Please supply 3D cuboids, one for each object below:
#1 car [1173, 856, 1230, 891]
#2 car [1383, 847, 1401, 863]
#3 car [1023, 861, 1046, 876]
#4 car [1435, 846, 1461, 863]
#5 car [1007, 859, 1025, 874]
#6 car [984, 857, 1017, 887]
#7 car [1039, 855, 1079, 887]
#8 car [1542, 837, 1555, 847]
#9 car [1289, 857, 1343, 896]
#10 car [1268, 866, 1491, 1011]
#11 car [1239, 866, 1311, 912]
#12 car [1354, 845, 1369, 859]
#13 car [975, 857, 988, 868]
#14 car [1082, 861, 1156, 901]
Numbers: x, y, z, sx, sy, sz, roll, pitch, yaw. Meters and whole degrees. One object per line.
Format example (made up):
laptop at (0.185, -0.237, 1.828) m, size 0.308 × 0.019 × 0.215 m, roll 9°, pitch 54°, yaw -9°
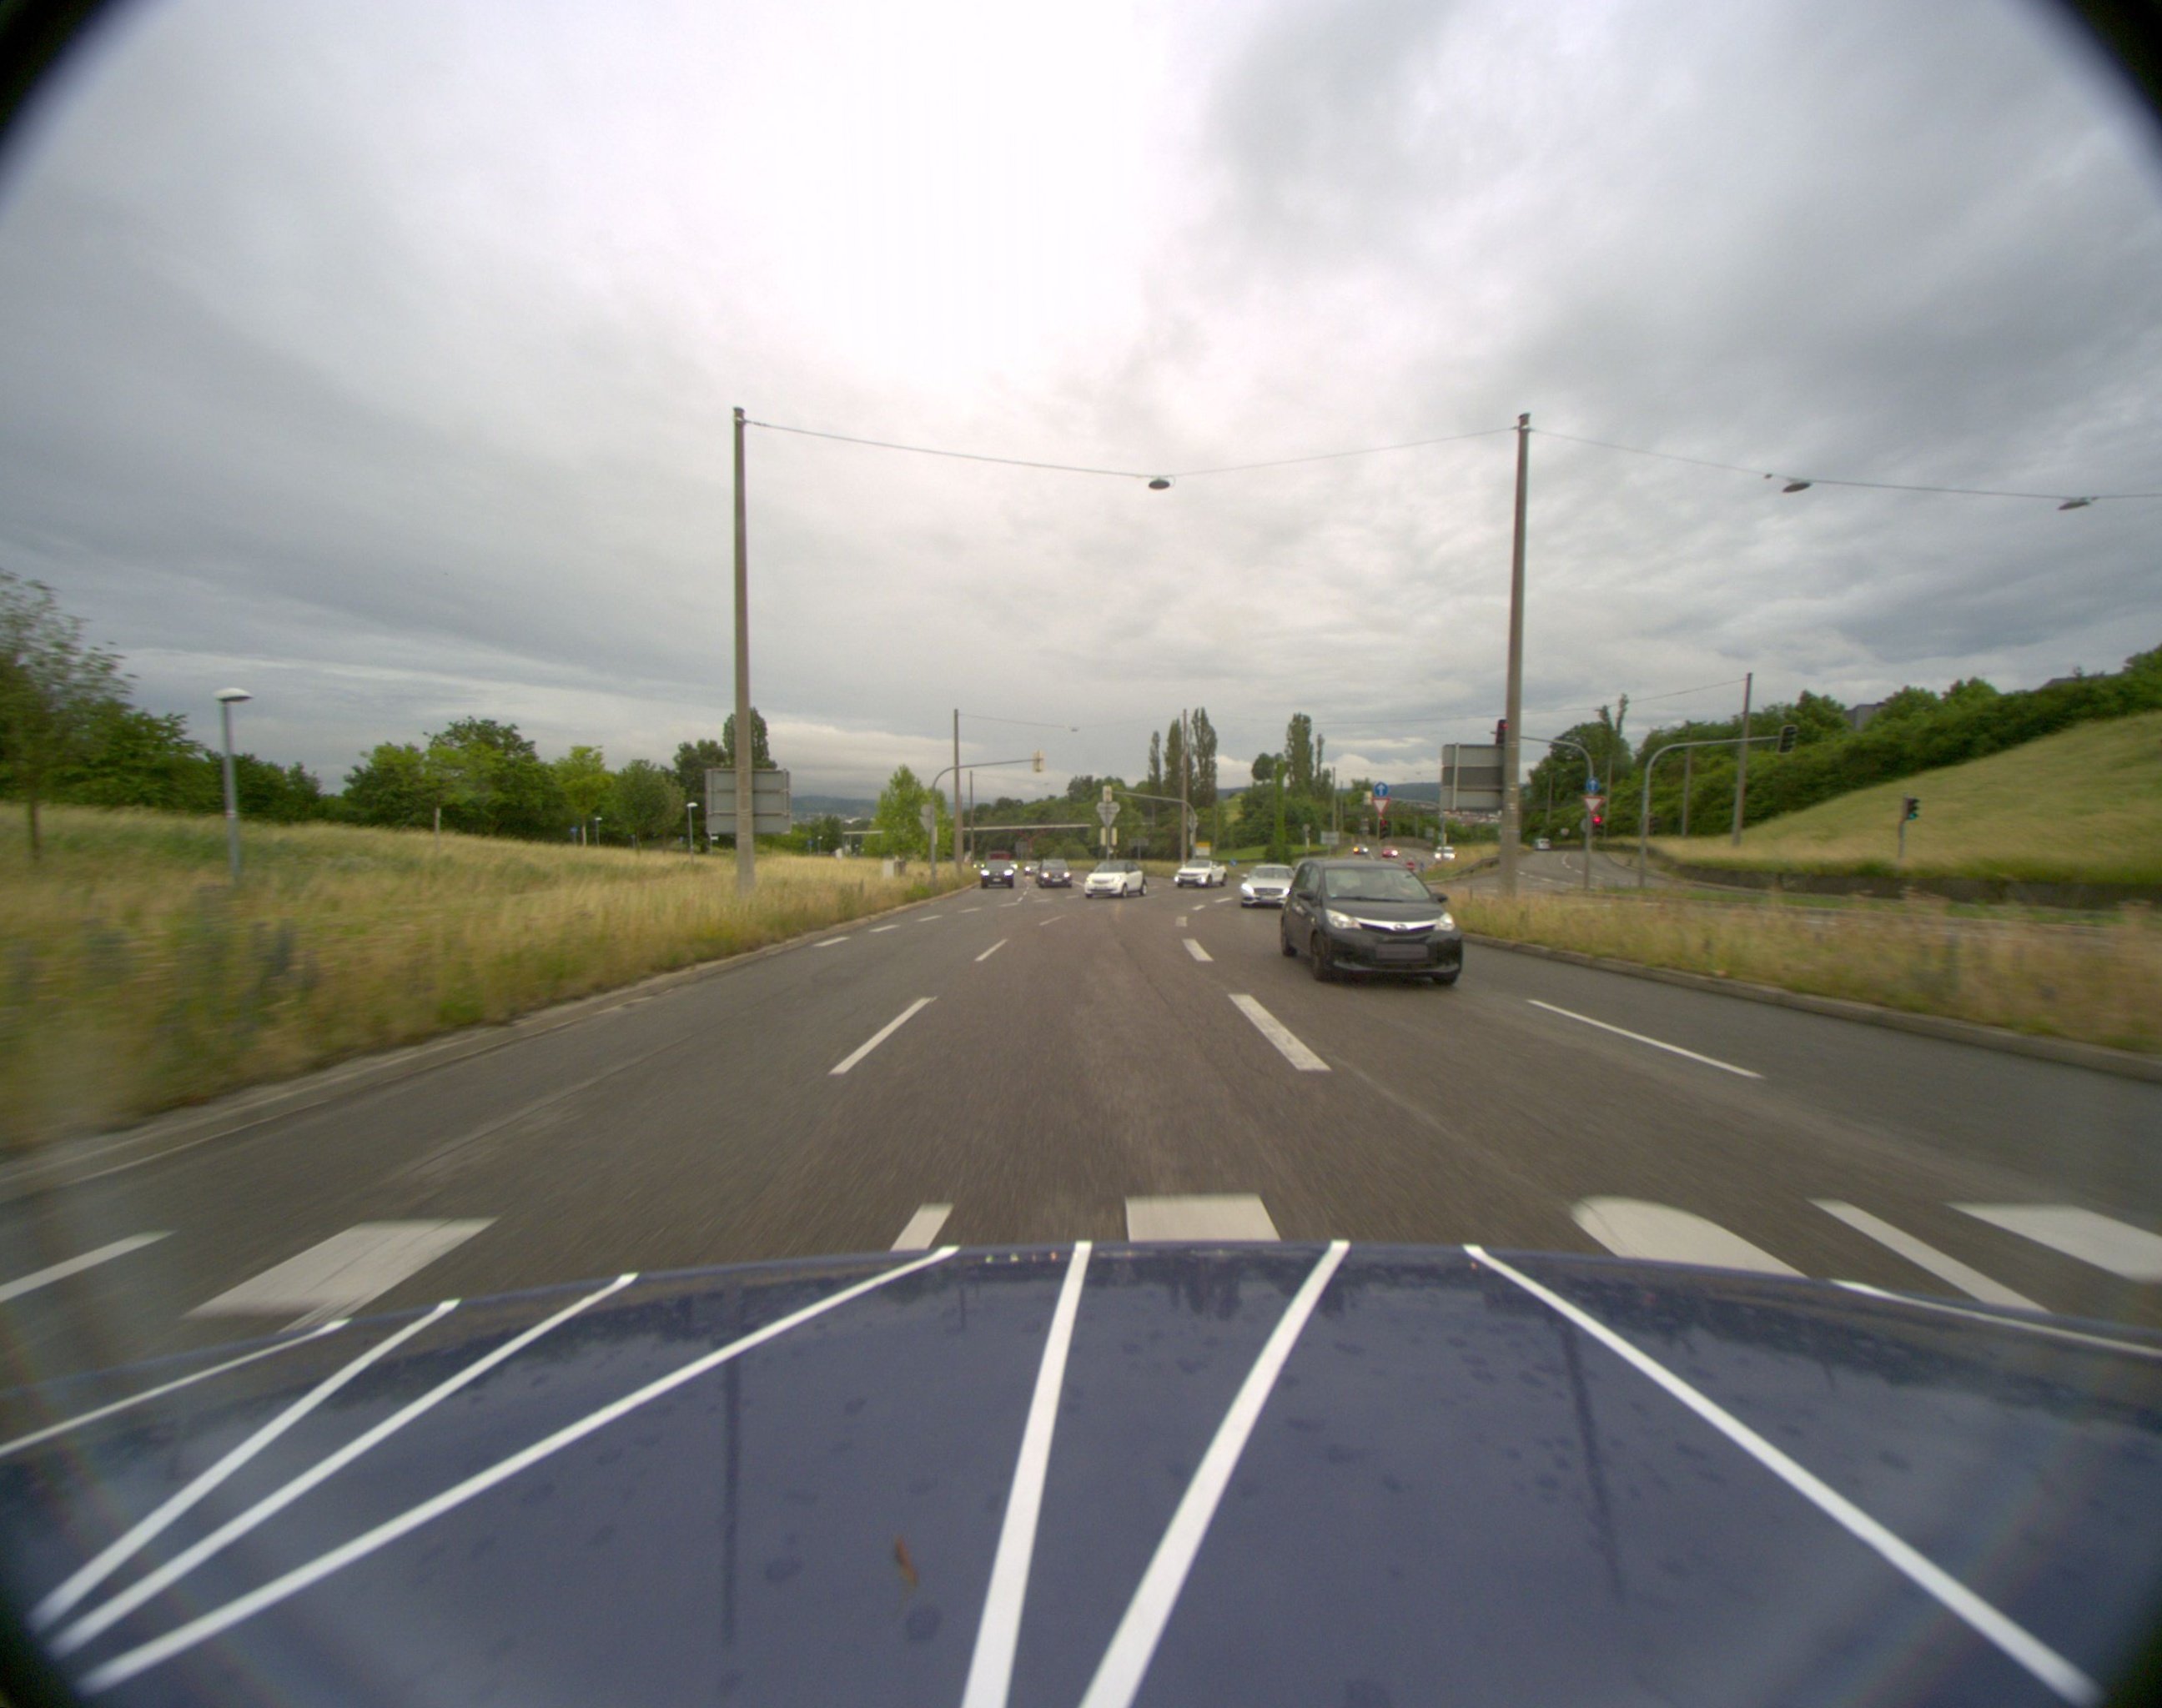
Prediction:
car at (6.690, 1.029, 41.864) m, size 1.839 × 1.532 × 3.822 m, roll -1°, pitch 5°, yaw 29°
car at (40.981, 0.150, 100.087) m, size 1.995 × 2.002 × 4.006 m, roll -1°, pitch 0°, yaw 20°
car at (-4.921, 1.542, 79.749) m, size 1.872 × 1.477 × 3.996 m, roll 0°, pitch 0°, yaw -11°
car at (38.478, 0.013, 79.758) m, size 1.996 × 1.682 × 4.295 m, roll -1°, pitch 0°, yaw 19°
car at (-8.892, 1.747, 103.524) m, size 1.839 × 1.936 × 3.995 m, roll -2°, pitch 0°, yaw -14°
car at (-4.727, 1.023, 44.949) m, size 1.720 × 1.633 × 3.886 m, roll -2°, pitch 1°, yaw -4°
car at (-1.335, 0.916, 43.891) m, size 1.999 × 1.633 × 4.626 m, roll -2°, pitch 1°, yaw -4°
car at (71.390, -1.780, 115.975) m, size 1.557 × 1.424 × 3.235 m, roll -2°, pitch 1°, yaw 31°
car at (11.499, 1.058, 37.007) m, size 1.924 × 1.725 × 4.032 m, roll -1°, pitch 0°, yaw 26°
car at (3.884, 0.990, 10.662) m, size 1.800 × 1.556 × 4.045 m, roll 1°, pitch 0°, yaw 5°
car at (6.717, 1.120, 25.979) m, size 1.996 × 1.399 × 4.531 m, roll 0°, pitch -1°, yaw 19°
car at (41.051, -0.294, 111.218) m, size 1.995 × 2.002 × 4.006 m, roll -1°, pitch 0°, yaw 21°
car at (-17.797, 1.518, 135.696) m, size 2.000 × 2.002 × 3.996 m, roll 0°, pitch 0°, yaw -11°
car at (1.676, 1.079, 32.067) m, size 1.723 × 1.513 × 4.234 m, roll 1°, pitch 0°, yaw 23°
